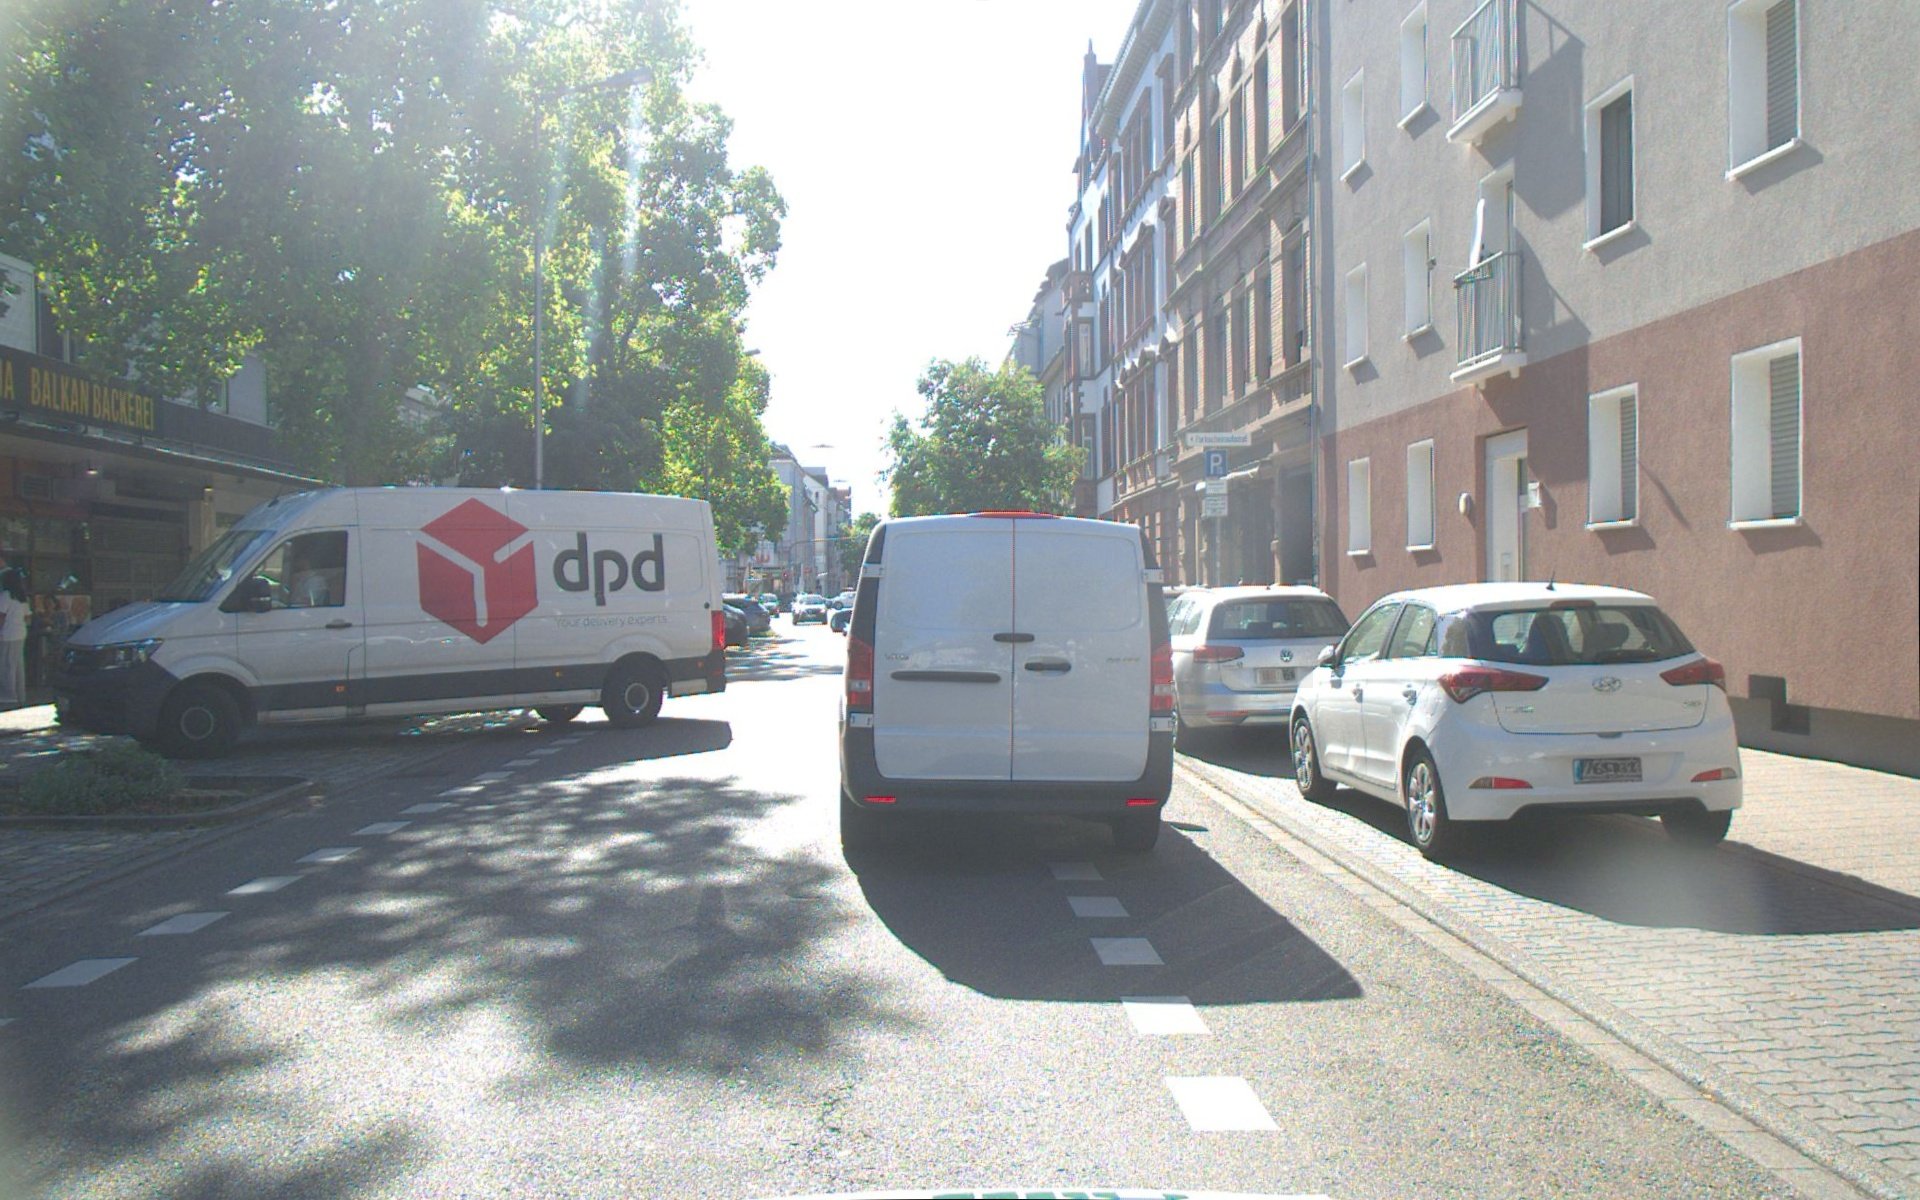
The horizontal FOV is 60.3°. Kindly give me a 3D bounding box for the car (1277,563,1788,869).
[{"bbox_3d":[3.355,0.589,10.503,1.697,1.512,3.792,-2,0,-4],"label":"car"}]

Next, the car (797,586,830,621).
[{"bbox_3d":[-7.048,0.135,79.311,1.501,1.624,3.995,-1,0,-6],"label":"car"}]

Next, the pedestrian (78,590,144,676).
[{"bbox_3d":[-13.547,0.525,26.415,0.709,1.354,0.702,1,0,-5],"label":"pedestrian"}]

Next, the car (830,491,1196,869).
[{"bbox_3d":[0.225,0.398,11.026,1.882,1.947,4.887,1,0,-1],"label":"car"}]

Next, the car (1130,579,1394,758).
[{"bbox_3d":[2.841,0.582,16.529,1.749,1.485,4.516,-2,0,0],"label":"car"}]

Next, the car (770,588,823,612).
[{"bbox_3d":[-12.031,-0.008,121.754,3.910,1.668,1.997,0,0,-6],"label":"car"}]

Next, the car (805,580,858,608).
[{"bbox_3d":[-9.731,-0.429,125.170,3.907,2.049,1.999,-1,0,-2],"label":"car"}]

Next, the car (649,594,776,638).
[{"bbox_3d":[-8.719,0.551,58.582,4.217,1.485,1.762,1,0,-1],"label":"car"}]

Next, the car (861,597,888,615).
[{"bbox_3d":[-5.054,0.357,97.880,1.578,0.984,3.998,-1,0,-3],"label":"car"}]

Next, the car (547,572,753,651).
[{"bbox_3d":[-8.271,0.307,44.493,5.186,2.009,2.014,1,0,-3],"label":"car"}]

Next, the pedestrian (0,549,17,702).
[{"bbox_3d":[-12.524,0.327,21.432,0.382,1.968,0.361,1,0,-1],"label":"pedestrian"}]

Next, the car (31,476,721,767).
[{"bbox_3d":[-5.779,0.140,17.235,6.548,2.517,1.969,-1,1,-42],"label":"car"}]

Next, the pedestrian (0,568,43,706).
[{"bbox_3d":[-12.049,0.465,21.124,0.382,1.735,0.502,1,0,-1],"label":"pedestrian"}]

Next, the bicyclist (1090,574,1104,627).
[{"bbox_3d":[3.901,0.009,47.149,0.353,1.503,0.531,0,0,2],"label":"bicyclist"}]

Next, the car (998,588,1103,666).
[{"bbox_3d":[1.800,0.511,33.987,1.704,1.477,3.998,-1,0,-3],"label":"car"}]

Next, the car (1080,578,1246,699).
[{"bbox_3d":[2.704,0.482,22.792,1.675,1.506,3.708,-1,0,-3],"label":"car"}]

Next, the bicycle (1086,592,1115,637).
[{"bbox_3d":[3.970,0.412,46.977,0.526,1.168,2.124,-8,-1,1],"label":"bicycle"}]
